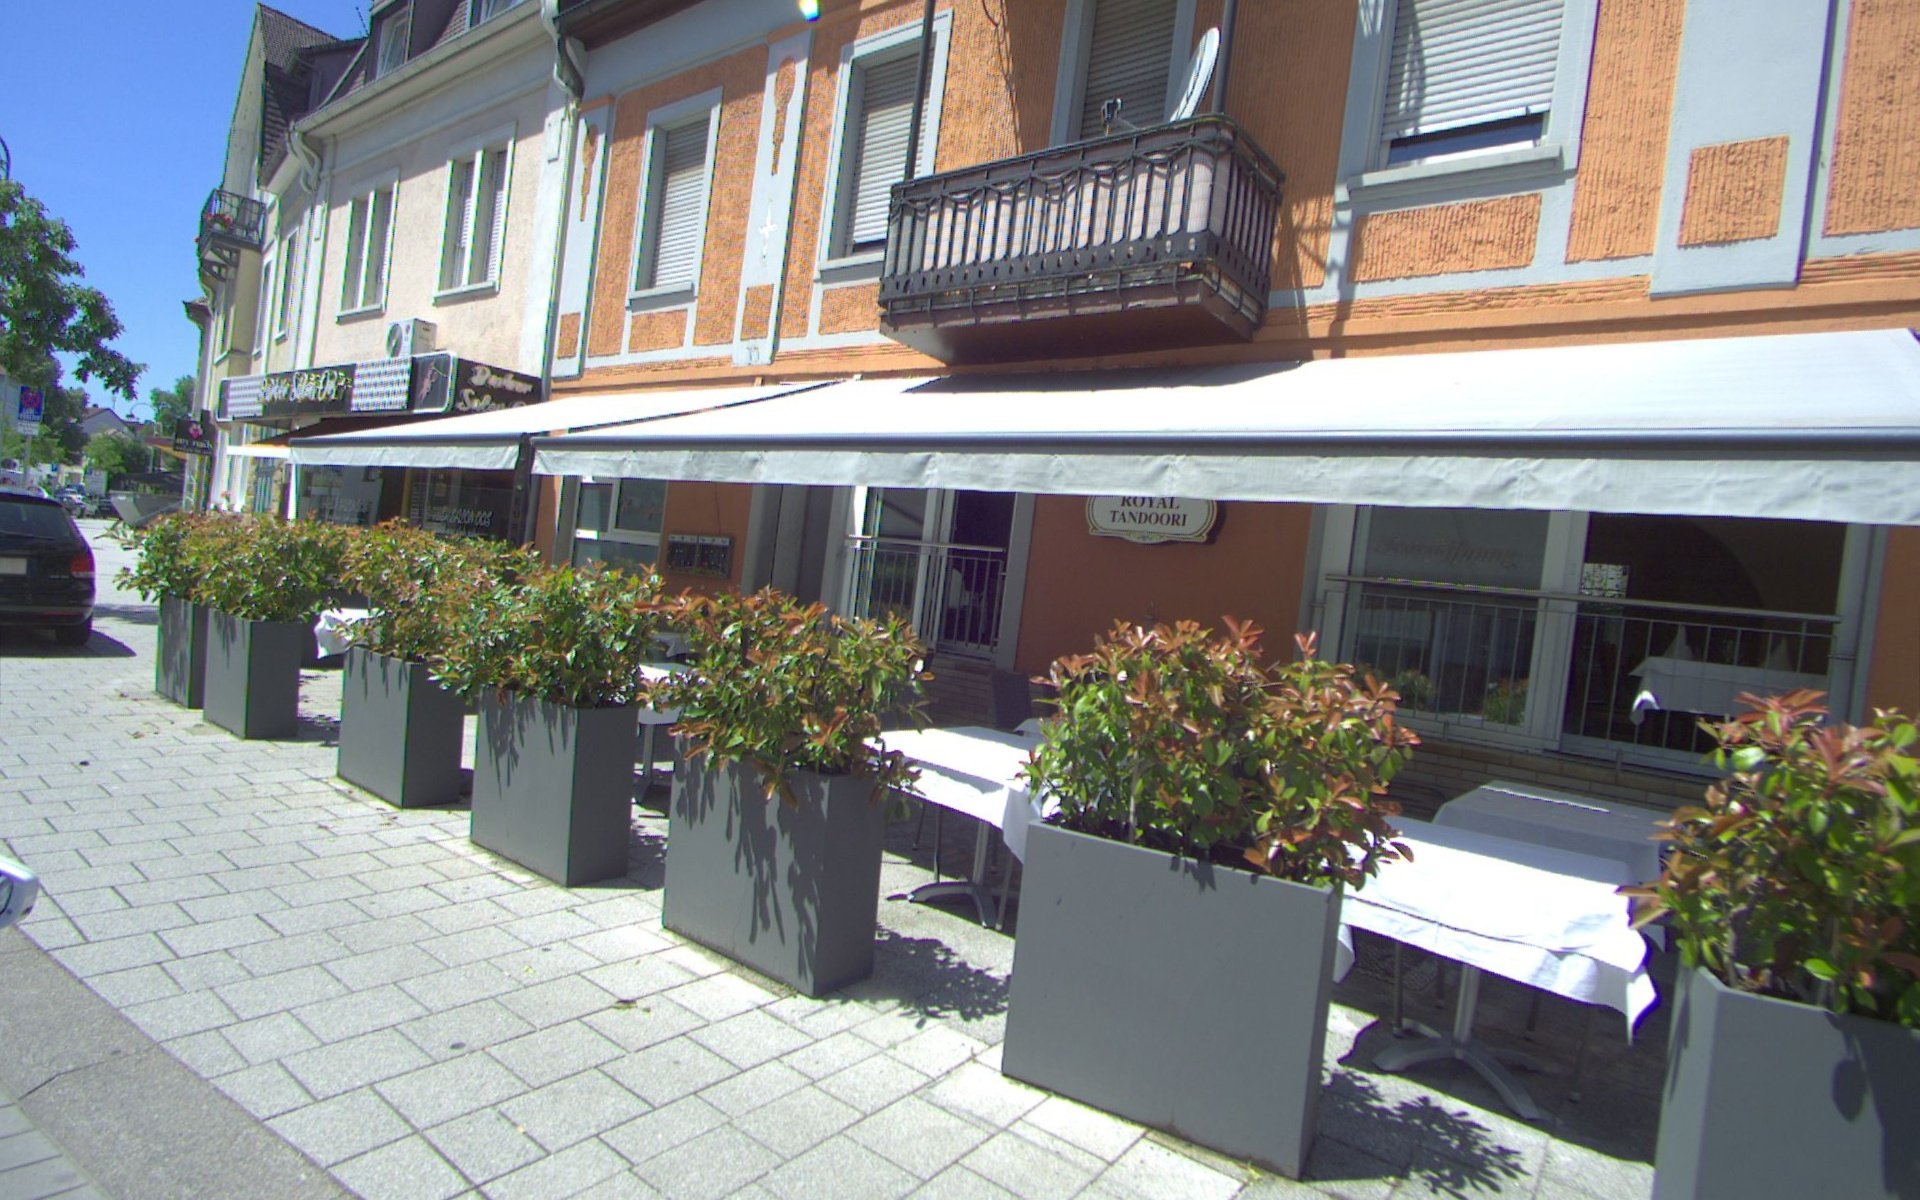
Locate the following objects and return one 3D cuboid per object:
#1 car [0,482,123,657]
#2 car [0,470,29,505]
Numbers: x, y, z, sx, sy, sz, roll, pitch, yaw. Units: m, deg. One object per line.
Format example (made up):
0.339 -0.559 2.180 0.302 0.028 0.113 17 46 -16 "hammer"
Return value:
-9.864 -0.432 9.838 3.940 1.505 1.748 6 2 38 "car"
-61.902 -7.326 65.193 1.986 2.037 3.954 8 -1 -41 "car"
